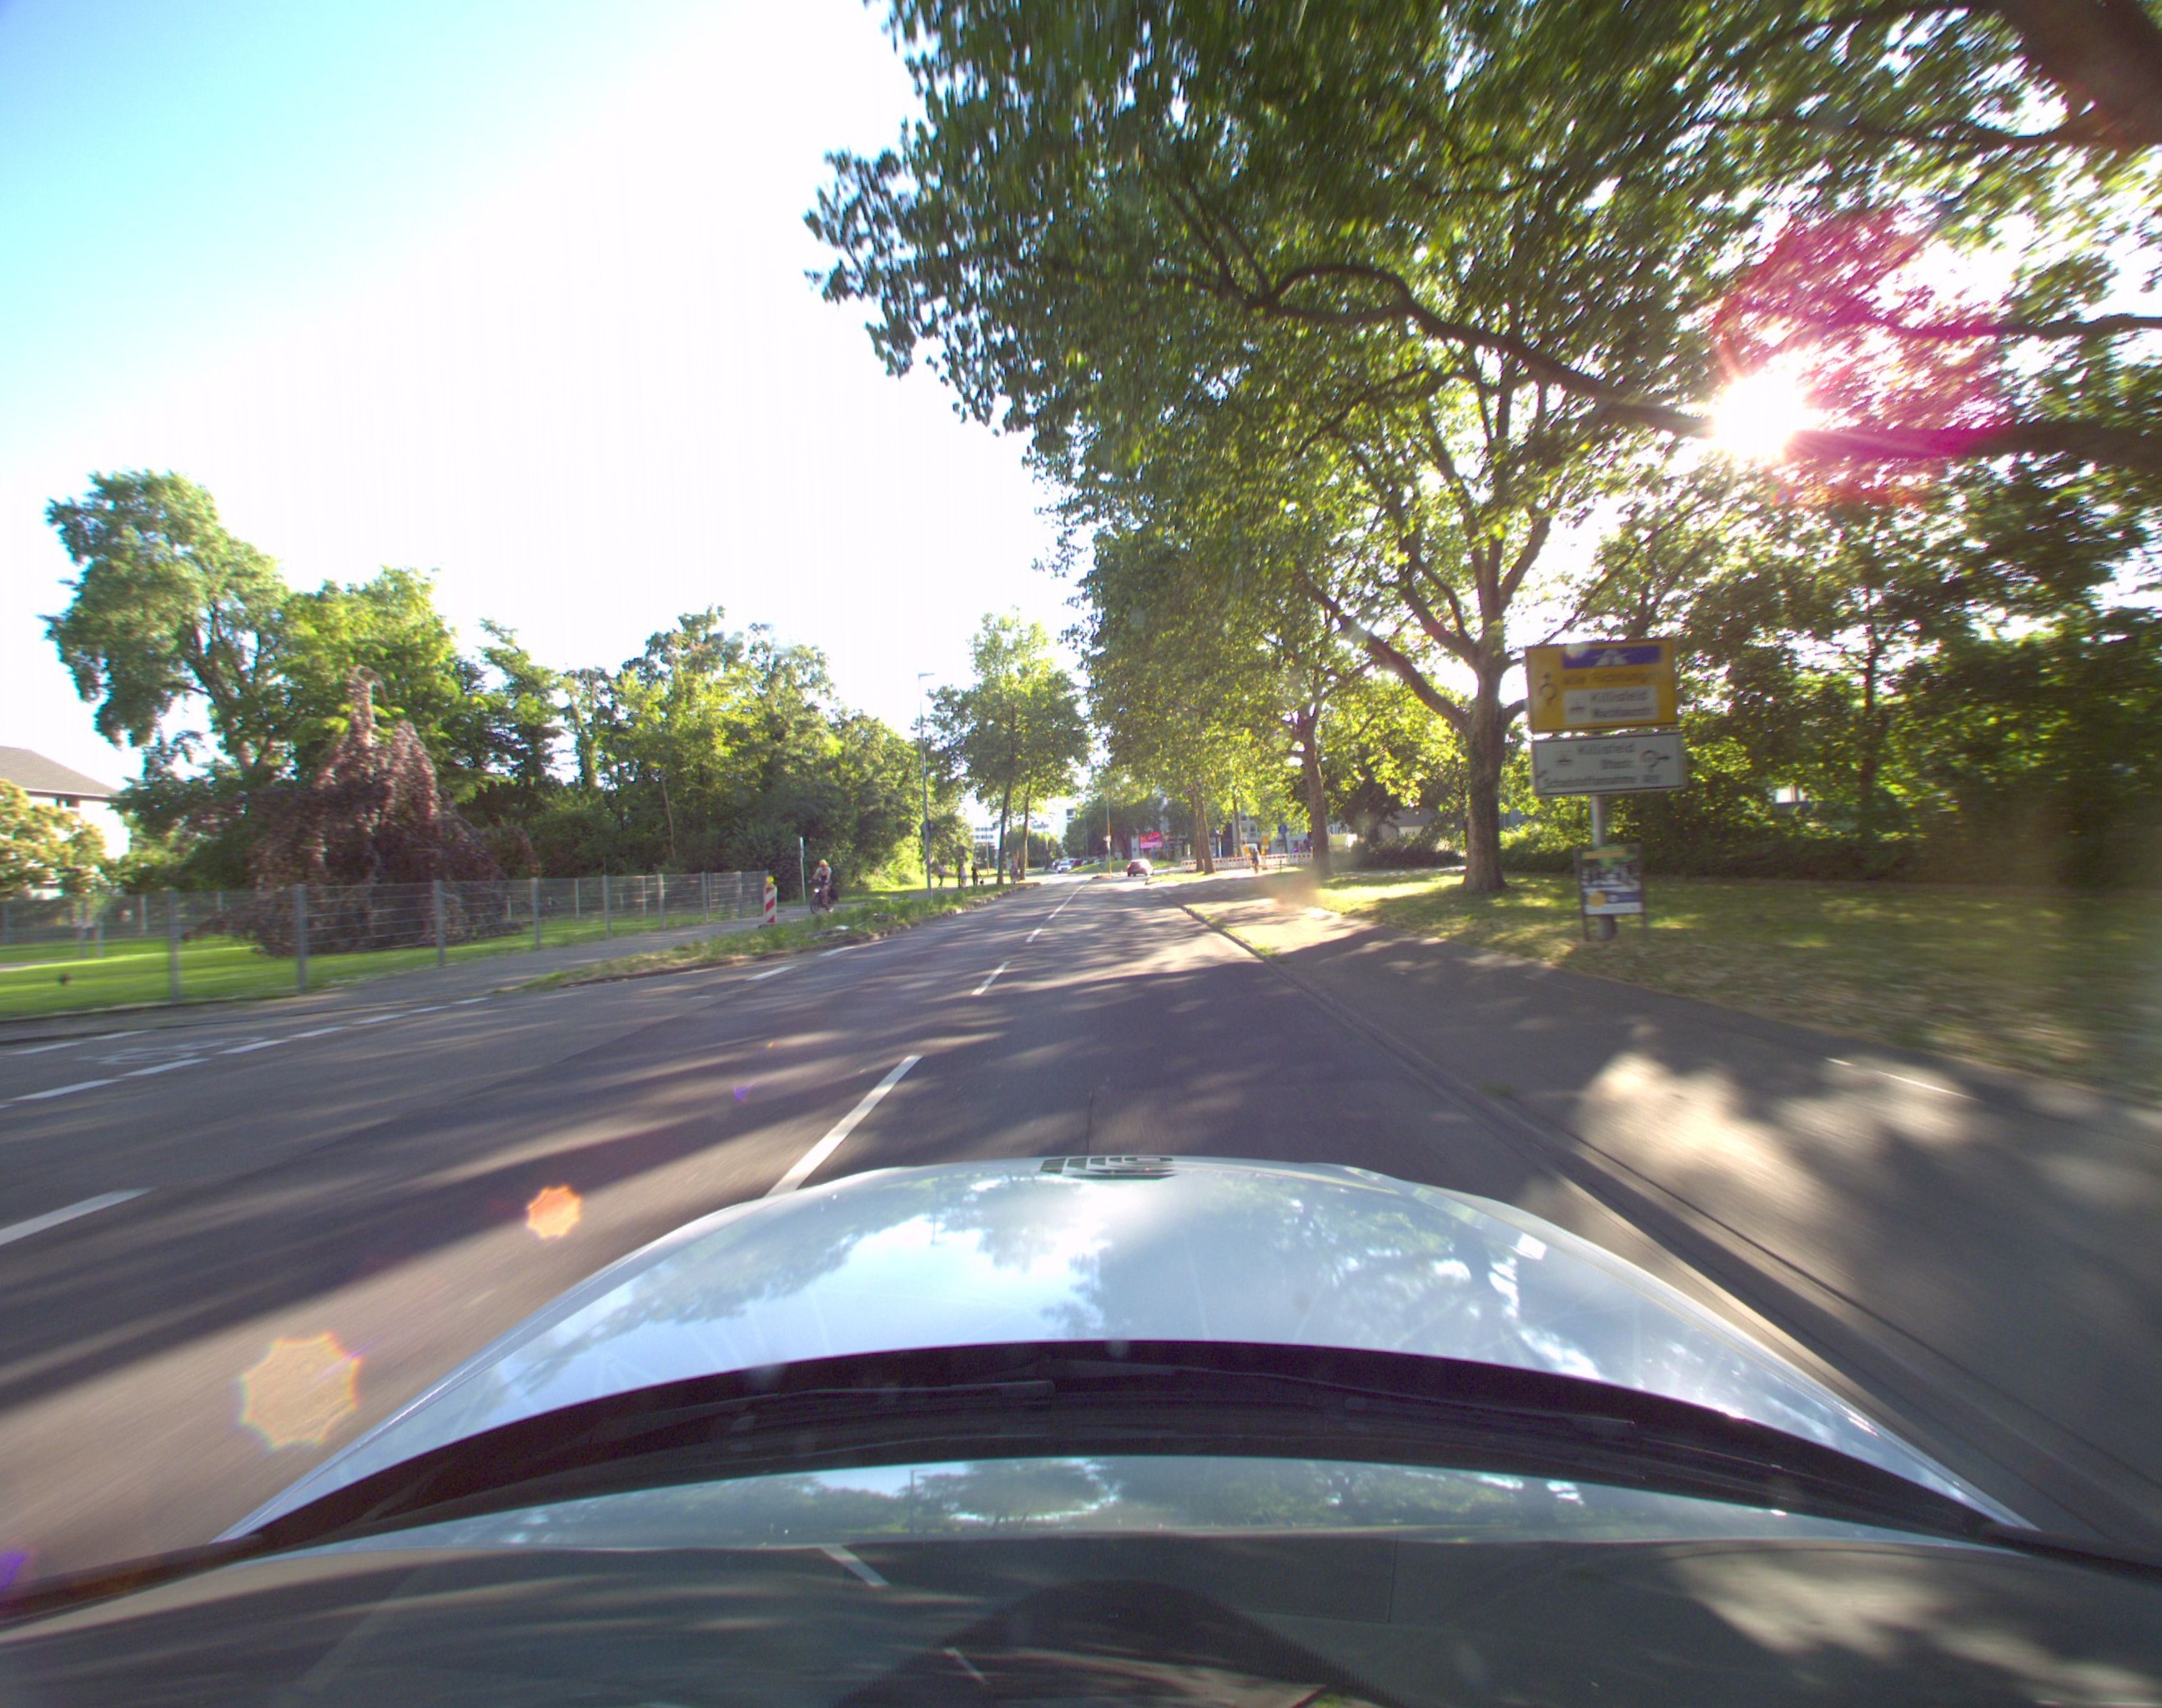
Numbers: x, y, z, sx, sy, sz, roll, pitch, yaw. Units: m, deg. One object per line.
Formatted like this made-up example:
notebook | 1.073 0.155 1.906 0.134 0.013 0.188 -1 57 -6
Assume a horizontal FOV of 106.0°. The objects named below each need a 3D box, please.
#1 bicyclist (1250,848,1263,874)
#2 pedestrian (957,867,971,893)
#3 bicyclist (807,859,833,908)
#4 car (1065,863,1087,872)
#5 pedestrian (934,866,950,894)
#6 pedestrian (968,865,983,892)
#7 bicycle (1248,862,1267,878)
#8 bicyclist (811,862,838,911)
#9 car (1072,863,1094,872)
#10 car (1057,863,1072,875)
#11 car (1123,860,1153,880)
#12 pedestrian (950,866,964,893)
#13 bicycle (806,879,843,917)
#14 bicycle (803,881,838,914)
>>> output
bicyclist | 11.337 0.450 52.661 0.648 1.705 0.872 -1 -1 2
pedestrian | -7.422 1.632 51.557 0.569 1.638 0.638 -3 -1 27
bicyclist | -10.005 1.132 31.294 0.577 1.832 0.968 -3 -1 1
car | -1.012 2.677 163.320 4.010 1.747 1.779 -1 -1 -28
pedestrian | -8.792 1.644 51.519 0.627 1.739 0.668 -3 -1 24
pedestrian | -6.898 1.610 53.192 0.745 1.739 0.852 -3 -1 4
bicycle | 11.354 1.037 52.351 0.767 0.964 2.175 -4 -2 2
bicyclist | -9.115 1.146 28.986 0.577 1.679 0.971 -3 -1 1
car | 0.335 2.617 160.756 4.010 1.747 1.779 -1 -1 -28
car | -2.182 1.996 108.722 1.988 1.578 3.997 -2 -1 -1
car | 5.033 1.349 71.595 1.825 1.605 3.879 -3 -1 16
pedestrian | -8.090 1.655 53.169 0.662 1.739 0.752 -3 -1 4
bicycle | -9.099 1.534 28.952 0.577 1.245 2.108 -3 -1 1
bicycle | -9.986 1.651 31.295 0.577 1.186 2.032 -3 -1 1
